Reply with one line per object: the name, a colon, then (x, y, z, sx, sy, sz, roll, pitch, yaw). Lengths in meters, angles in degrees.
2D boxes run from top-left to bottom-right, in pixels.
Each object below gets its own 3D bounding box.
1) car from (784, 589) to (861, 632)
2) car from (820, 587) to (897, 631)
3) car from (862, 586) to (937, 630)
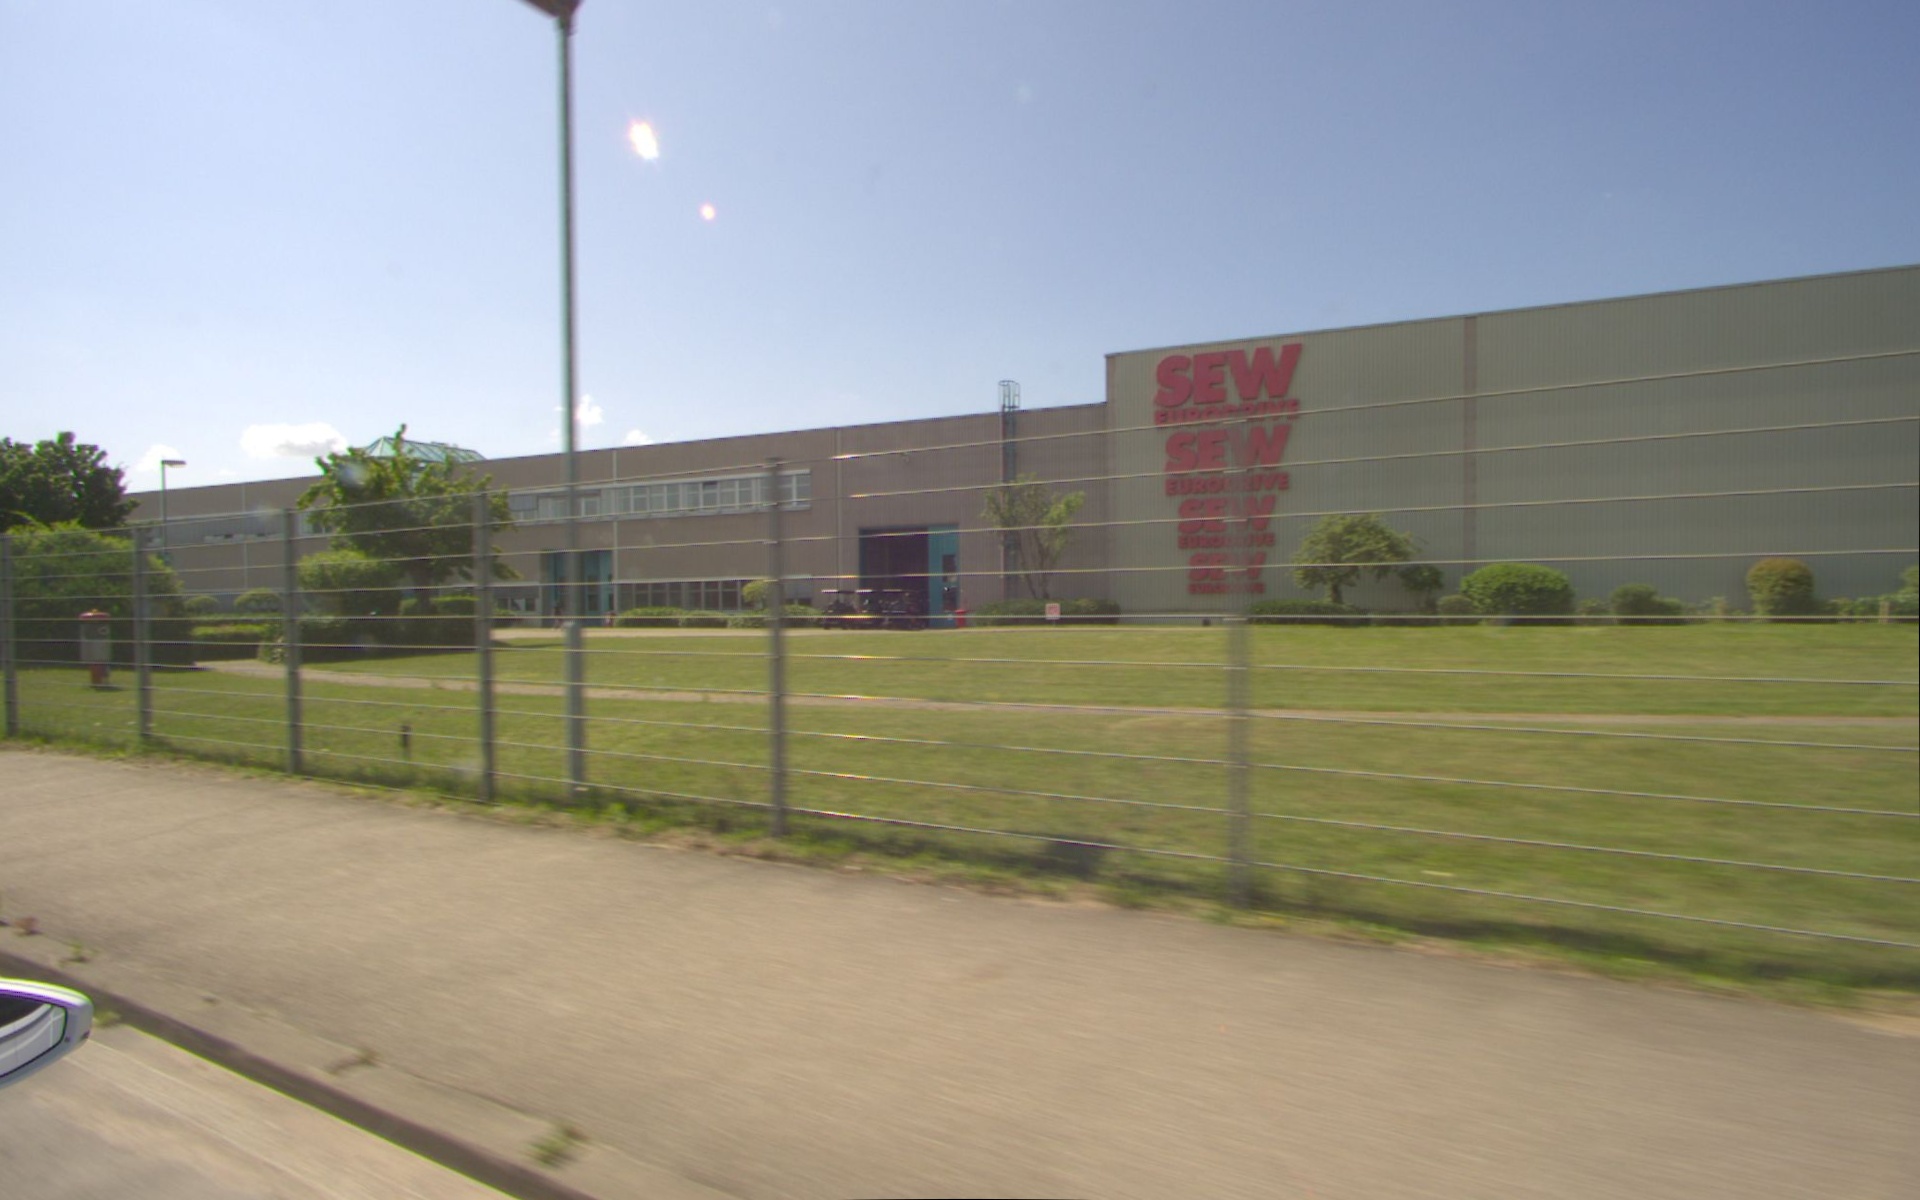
car: (-6.730, 0.496, 49.391, 1.938, 2.040, 4.161, 0, 0, 23)
car: (-4.874, 0.433, 48.615, 1.938, 2.040, 4.161, 0, 0, 23)
car: (-2.821, 0.362, 47.833, 1.938, 2.040, 4.161, 0, 0, 23)
